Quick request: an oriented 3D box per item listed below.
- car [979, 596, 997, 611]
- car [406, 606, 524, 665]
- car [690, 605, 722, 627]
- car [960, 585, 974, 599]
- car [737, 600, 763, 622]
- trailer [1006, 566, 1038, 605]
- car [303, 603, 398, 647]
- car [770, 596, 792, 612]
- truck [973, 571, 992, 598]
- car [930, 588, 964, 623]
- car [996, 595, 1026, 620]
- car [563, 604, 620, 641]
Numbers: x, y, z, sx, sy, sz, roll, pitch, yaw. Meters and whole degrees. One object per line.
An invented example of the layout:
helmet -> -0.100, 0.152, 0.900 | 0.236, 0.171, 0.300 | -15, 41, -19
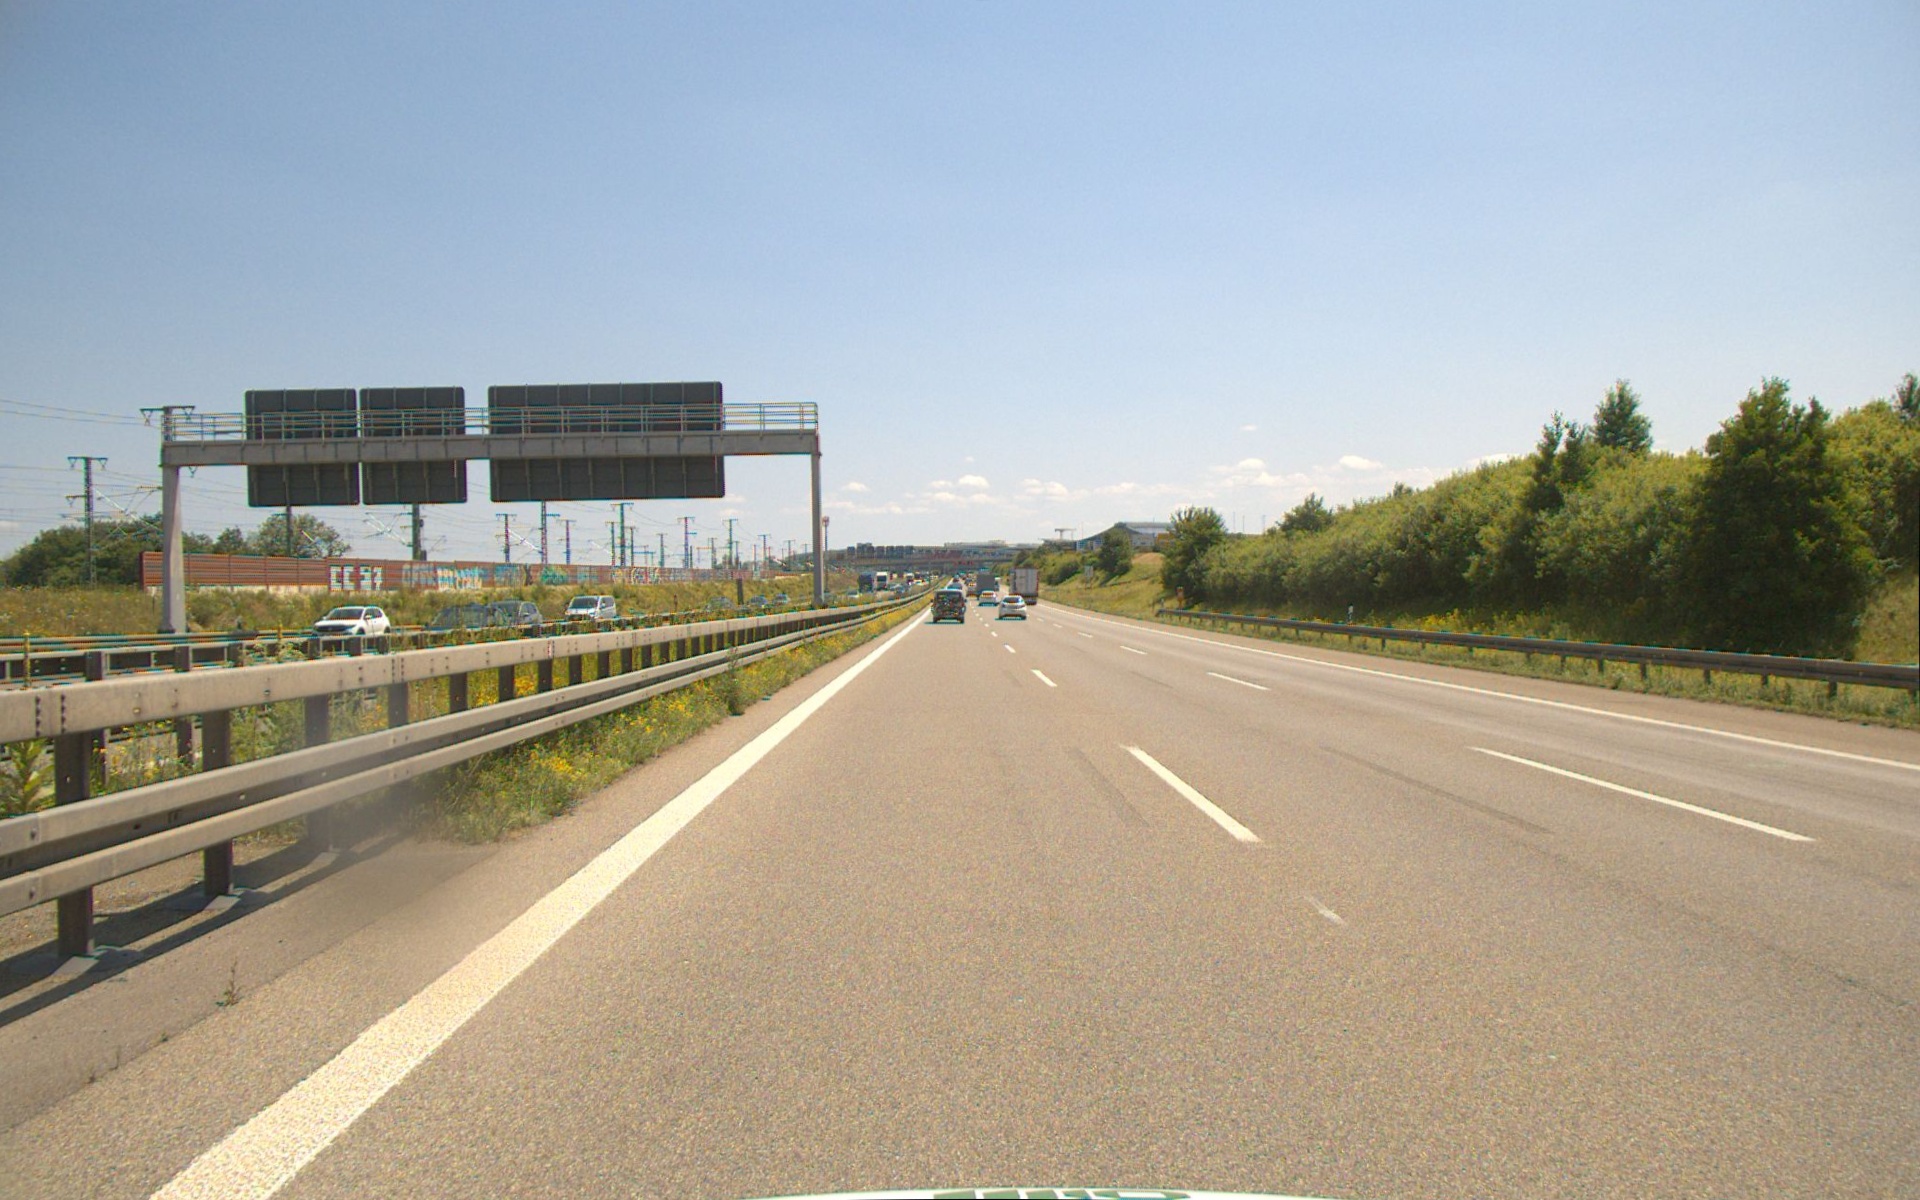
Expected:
car -> 2.862, 0.348, 169.134 | 1.842, 1.553, 4.000 | 0, 0, 1
car -> -13.179, 0.907, 44.331 | 1.890, 1.509, 4.475 | 0, 0, -1
car -> -21.141, 1.314, 137.963 | 1.952, 1.757, 4.513 | 0, 0, 0
car -> 1.029, -1.180, 245.391 | 1.953, 2.049, 3.999 | 0, 0, -1
car -> -20.607, 1.077, 162.073 | 1.953, 2.049, 4.309 | 1, -1, 0
trailer -> 6.735, -1.576, 180.922 | 3.112, 4.130, 9.439 | -1, 1, 0
car -> -23.213, 0.930, 63.168 | 1.953, 1.604, 4.476 | 0, 0, 0
car -> -20.289, 0.490, 187.574 | 1.953, 1.757, 4.513 | 0, 0, 0
truck -> 2.905, -2.059, 213.981 | 2.307, 3.476, 6.057 | 0, 1, 0
car -> -0.693, 0.296, 91.035 | 1.842, 1.806, 4.000 | -1, 0, 0
car -> 3.216, 0.468, 103.566 | 1.841, 1.553, 4.001 | 0, 0, 3
car -> -20.318, 1.212, 91.394 | 1.952, 1.919, 4.978 | 0, 0, 1
